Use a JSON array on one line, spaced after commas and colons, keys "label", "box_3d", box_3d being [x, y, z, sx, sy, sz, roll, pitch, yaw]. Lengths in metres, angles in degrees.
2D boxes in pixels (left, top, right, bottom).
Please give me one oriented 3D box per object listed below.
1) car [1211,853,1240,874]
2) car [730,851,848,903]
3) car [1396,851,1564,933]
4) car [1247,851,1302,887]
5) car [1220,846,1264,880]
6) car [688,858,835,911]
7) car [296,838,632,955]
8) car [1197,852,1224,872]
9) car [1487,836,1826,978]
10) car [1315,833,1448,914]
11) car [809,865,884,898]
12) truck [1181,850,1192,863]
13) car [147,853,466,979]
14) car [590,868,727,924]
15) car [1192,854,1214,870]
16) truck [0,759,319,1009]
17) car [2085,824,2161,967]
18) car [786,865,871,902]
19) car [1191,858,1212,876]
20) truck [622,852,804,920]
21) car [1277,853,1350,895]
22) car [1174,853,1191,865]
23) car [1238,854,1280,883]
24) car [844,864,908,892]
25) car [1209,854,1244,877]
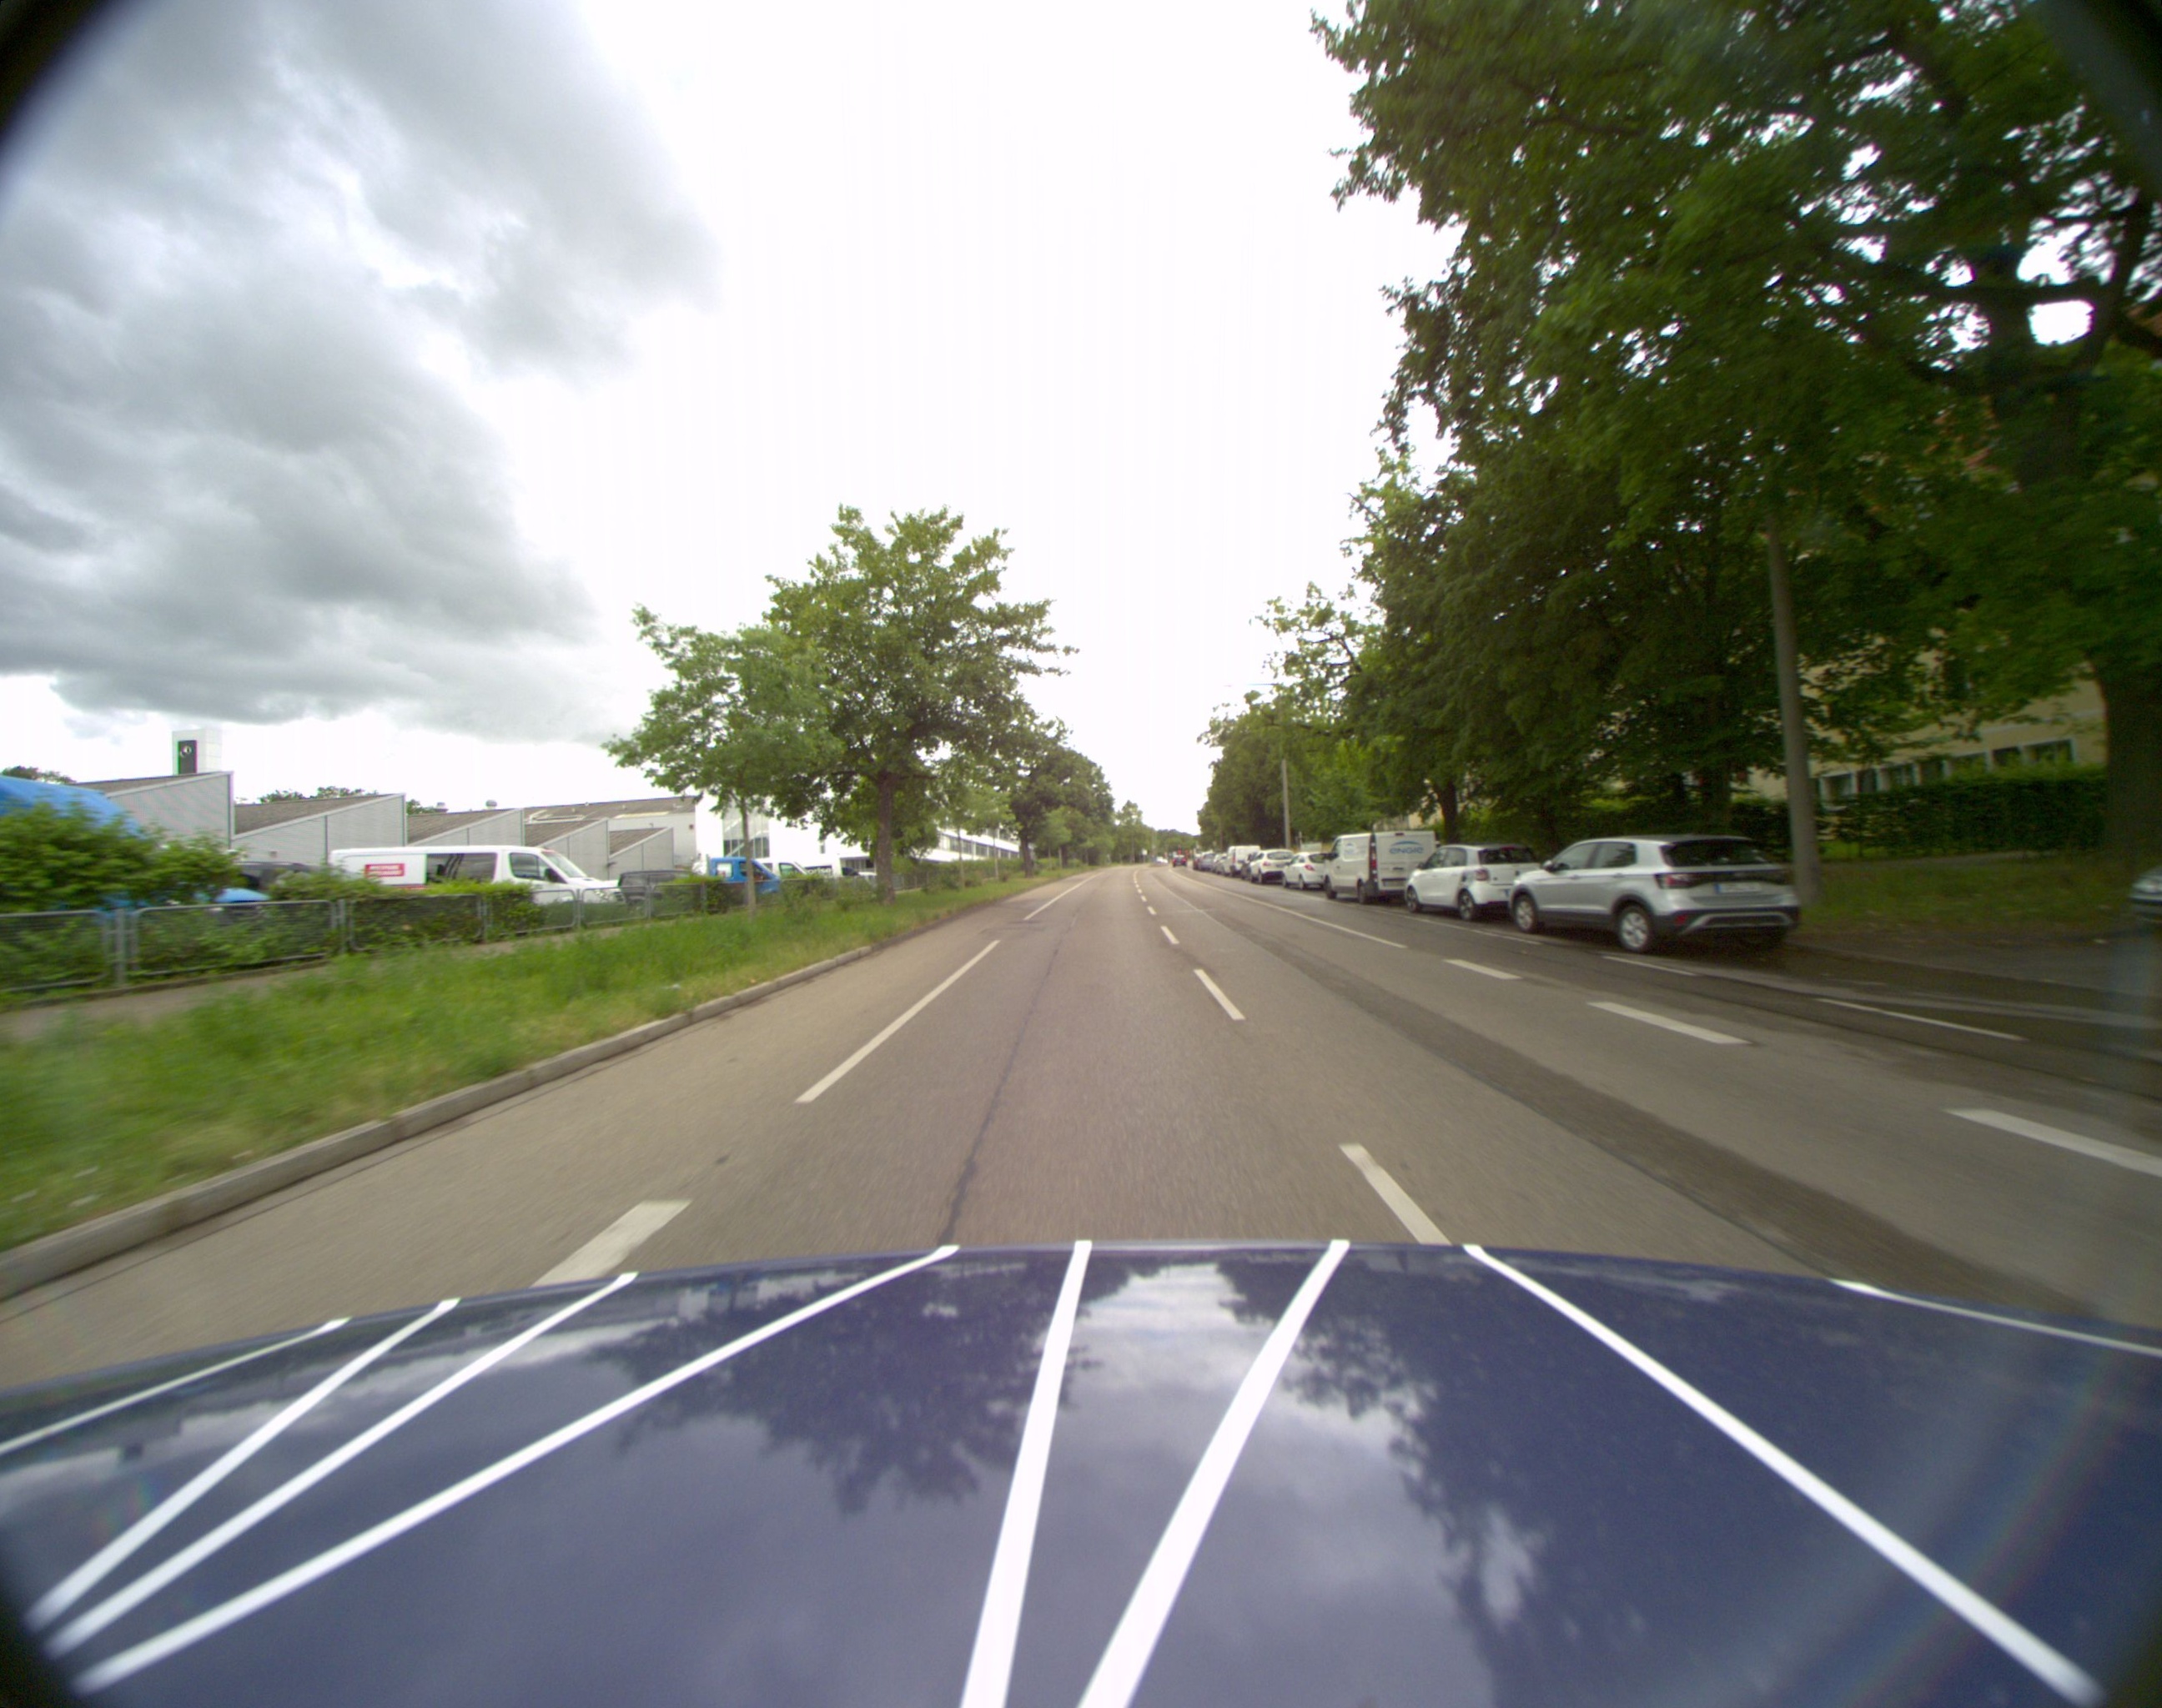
[{"label": "car", "box_3d": [11.061, 0.718, 58.427, 1.771, 1.486, 4.359, -1, 0, 6]}, {"label": "car", "box_3d": [-14.531, 1.121, 38.028, 5.266, 2.175, 2.068, -3, 0, -21]}, {"label": "car", "box_3d": [8.216, 0.712, 16.026, 1.585, 1.473, 3.720, -2, 0, 1]}, {"label": "car", "box_3d": [9.086, 0.664, 36.020, 1.677, 1.555, 4.282, -2, 0, 3]}, {"label": "car", "box_3d": [9.968, 0.542, 47.459, 1.772, 1.919, 5.156, -3, -1, 3]}, {"label": "car", "box_3d": [-14.142, 1.323, 34.113, 5.831, 1.945, 2.069, -3, 0, -18]}, {"label": "car", "box_3d": [-15.161, 0.958, 19.255, 6.035, 2.353, 2.358, -3, 0, -20]}, {"label": "car", "box_3d": [11.015, 0.697, 64.956, 1.772, 1.582, 4.136, -2, 0, 4]}, {"label": "car", "box_3d": [7.979, 0.641, 11.143, 1.771, 1.624, 4.158, -2, 0, 0]}, {"label": "car", "box_3d": [8.350, 0.498, 21.679, 1.870, 1.952, 5.128, -2, 0, 2]}, {"label": "car", "box_3d": [-16.700, 1.939, 54.227, 4.584, 2.022, 2.067, -3, 0, -36]}, {"label": "truck", "box_3d": [31.277, 0.739, 225.651, 2.830, 3.460, 7.829, -2, 0, 10]}, {"label": "car", "box_3d": [-15.273, 1.139, 15.343, 4.004, 2.063, 1.921, -3, 0, -25]}, {"label": "car", "box_3d": [-14.814, 1.437, 26.941, 4.004, 1.620, 1.996, -3, 0, -24]}, {"label": "car", "box_3d": [11.220, 0.724, 70.191, 1.771, 1.439, 4.152, -2, -1, 7]}, {"label": "truck", "box_3d": [-16.770, 0.489, 11.267, 7.193, 3.456, 2.615, -2, 0, -21]}, {"label": "car", "box_3d": [13.539, 0.216, 7.635, 4.444, 1.442, 1.869, -7, 0, -2]}, {"label": "car", "box_3d": [-16.083, 1.834, 48.491, 4.584, 2.022, 2.067, -3, 0, -36]}, {"label": "car", "box_3d": [11.838, 1.246, 74.986, 1.879, 1.561, 4.653, -3, 0, 8]}, {"label": "truck", "box_3d": [-14.558, 1.225, 30.464, 6.260, 2.199, 2.243, -3, 0, -24]}, {"label": "car", "box_3d": [9.129, 0.741, 30.138, 1.666, 1.470, 4.090, -2, 0, 1]}, {"label": "car", "box_3d": [13.155, 0.616, 98.430, 1.639, 1.458, 4.004, -1, 0, 15]}, {"label": "car", "box_3d": [9.627, 0.733, 41.351, 1.677, 1.479, 4.046, -1, 0, 5]}, {"label": "car", "box_3d": [-16.959, 1.975, 62.941, 4.584, 2.022, 2.067, -3, 0, -36]}, {"label": "car", "box_3d": [10.214, 0.796, 53.472, 1.639, 1.424, 3.950, -3, -1, 0]}]
